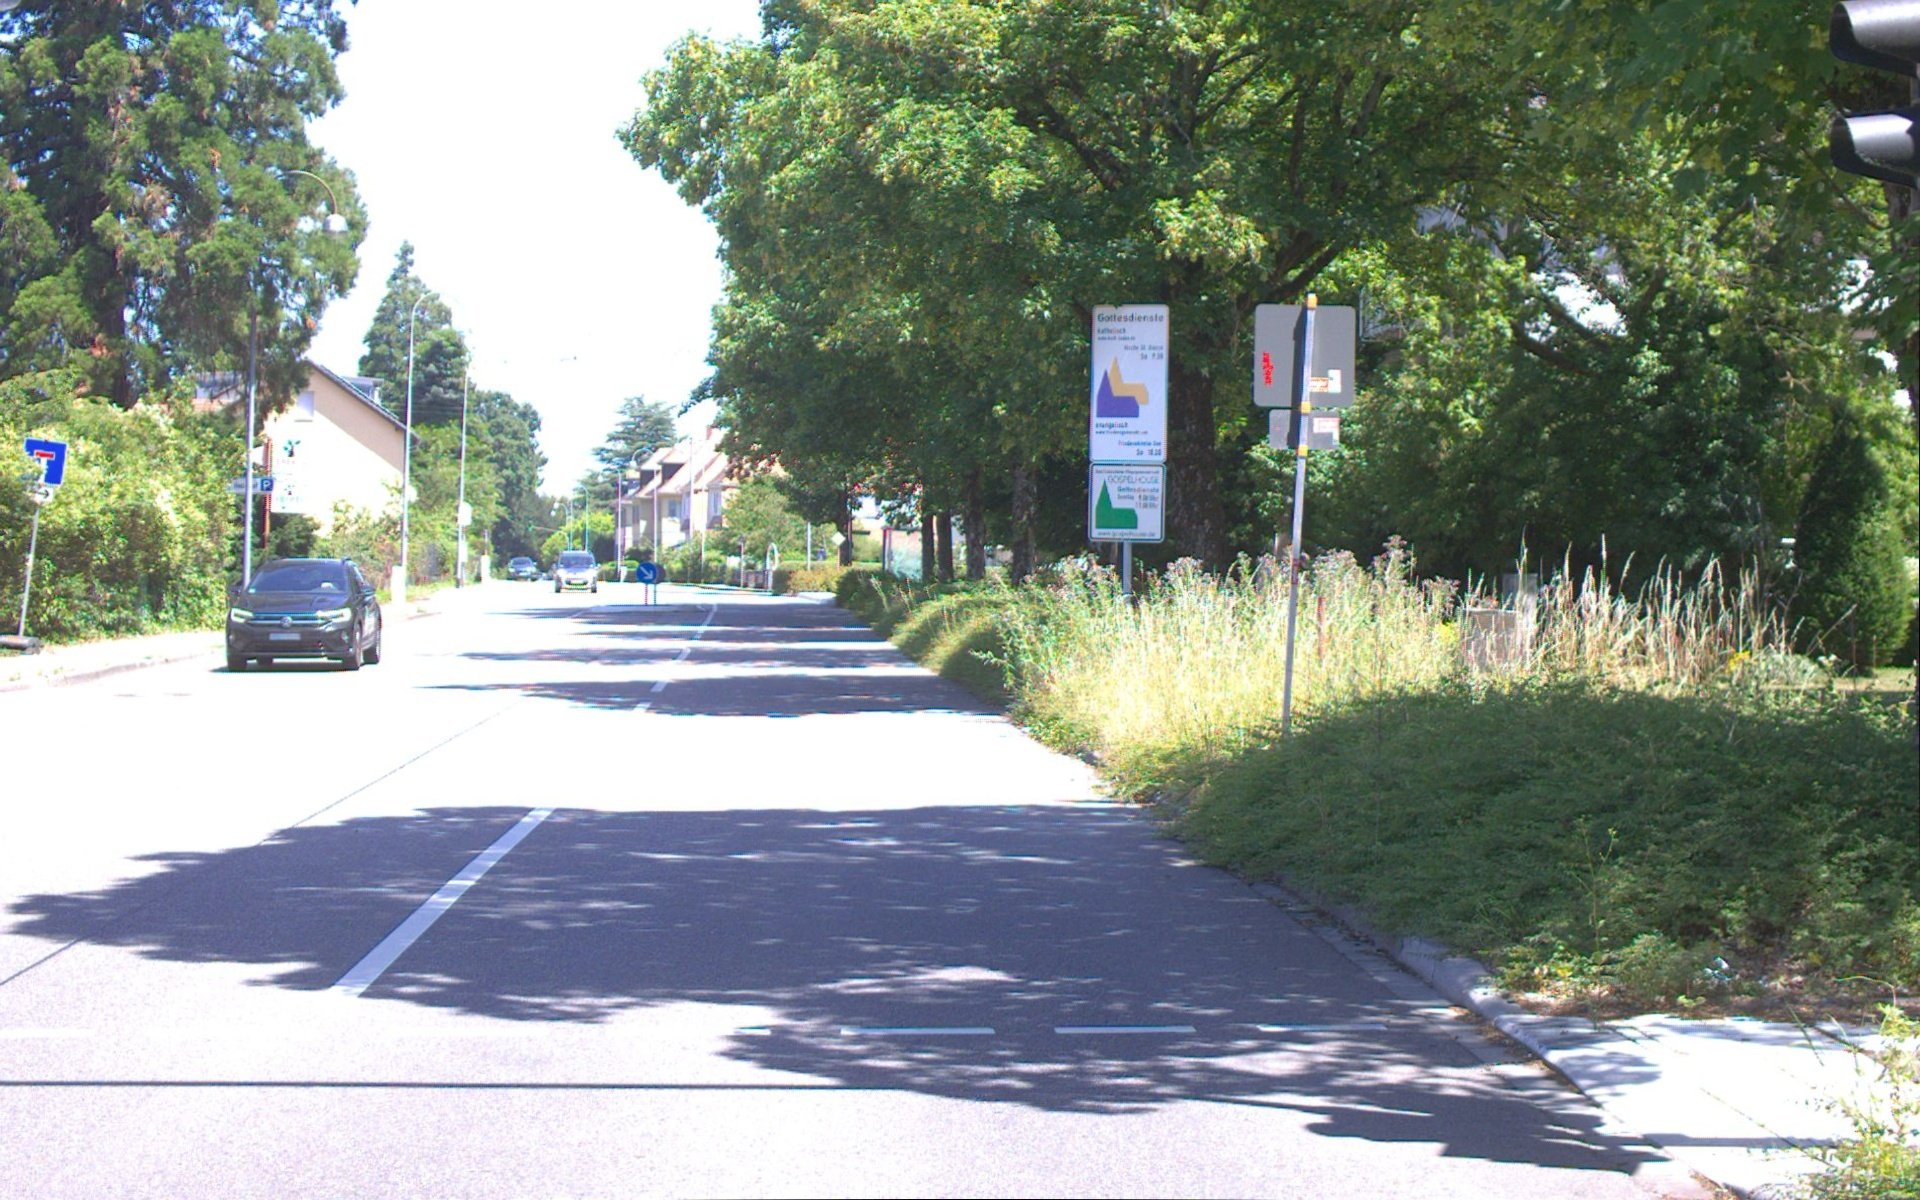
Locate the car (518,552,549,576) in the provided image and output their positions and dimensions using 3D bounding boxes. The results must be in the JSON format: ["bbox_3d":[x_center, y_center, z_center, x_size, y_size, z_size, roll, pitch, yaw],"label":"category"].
[{"bbox_3d":[-28.270,-2.392,228.068,1.822,1.546,4.001,0,1,-4],"label":"car"}]

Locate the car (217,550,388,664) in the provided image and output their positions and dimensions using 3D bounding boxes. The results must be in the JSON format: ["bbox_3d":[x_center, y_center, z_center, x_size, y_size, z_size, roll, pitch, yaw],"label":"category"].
[{"bbox_3d":[-8.961,0.065,47.135,1.869,1.501,4.053,0,1,-5],"label":"car"}]

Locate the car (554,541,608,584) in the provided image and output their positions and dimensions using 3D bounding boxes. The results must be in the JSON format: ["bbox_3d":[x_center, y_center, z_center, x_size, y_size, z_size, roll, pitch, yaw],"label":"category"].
[{"bbox_3d":[-16.105,-1.610,146.154,1.811,1.756,4.570,2,1,-1],"label":"car"}]
